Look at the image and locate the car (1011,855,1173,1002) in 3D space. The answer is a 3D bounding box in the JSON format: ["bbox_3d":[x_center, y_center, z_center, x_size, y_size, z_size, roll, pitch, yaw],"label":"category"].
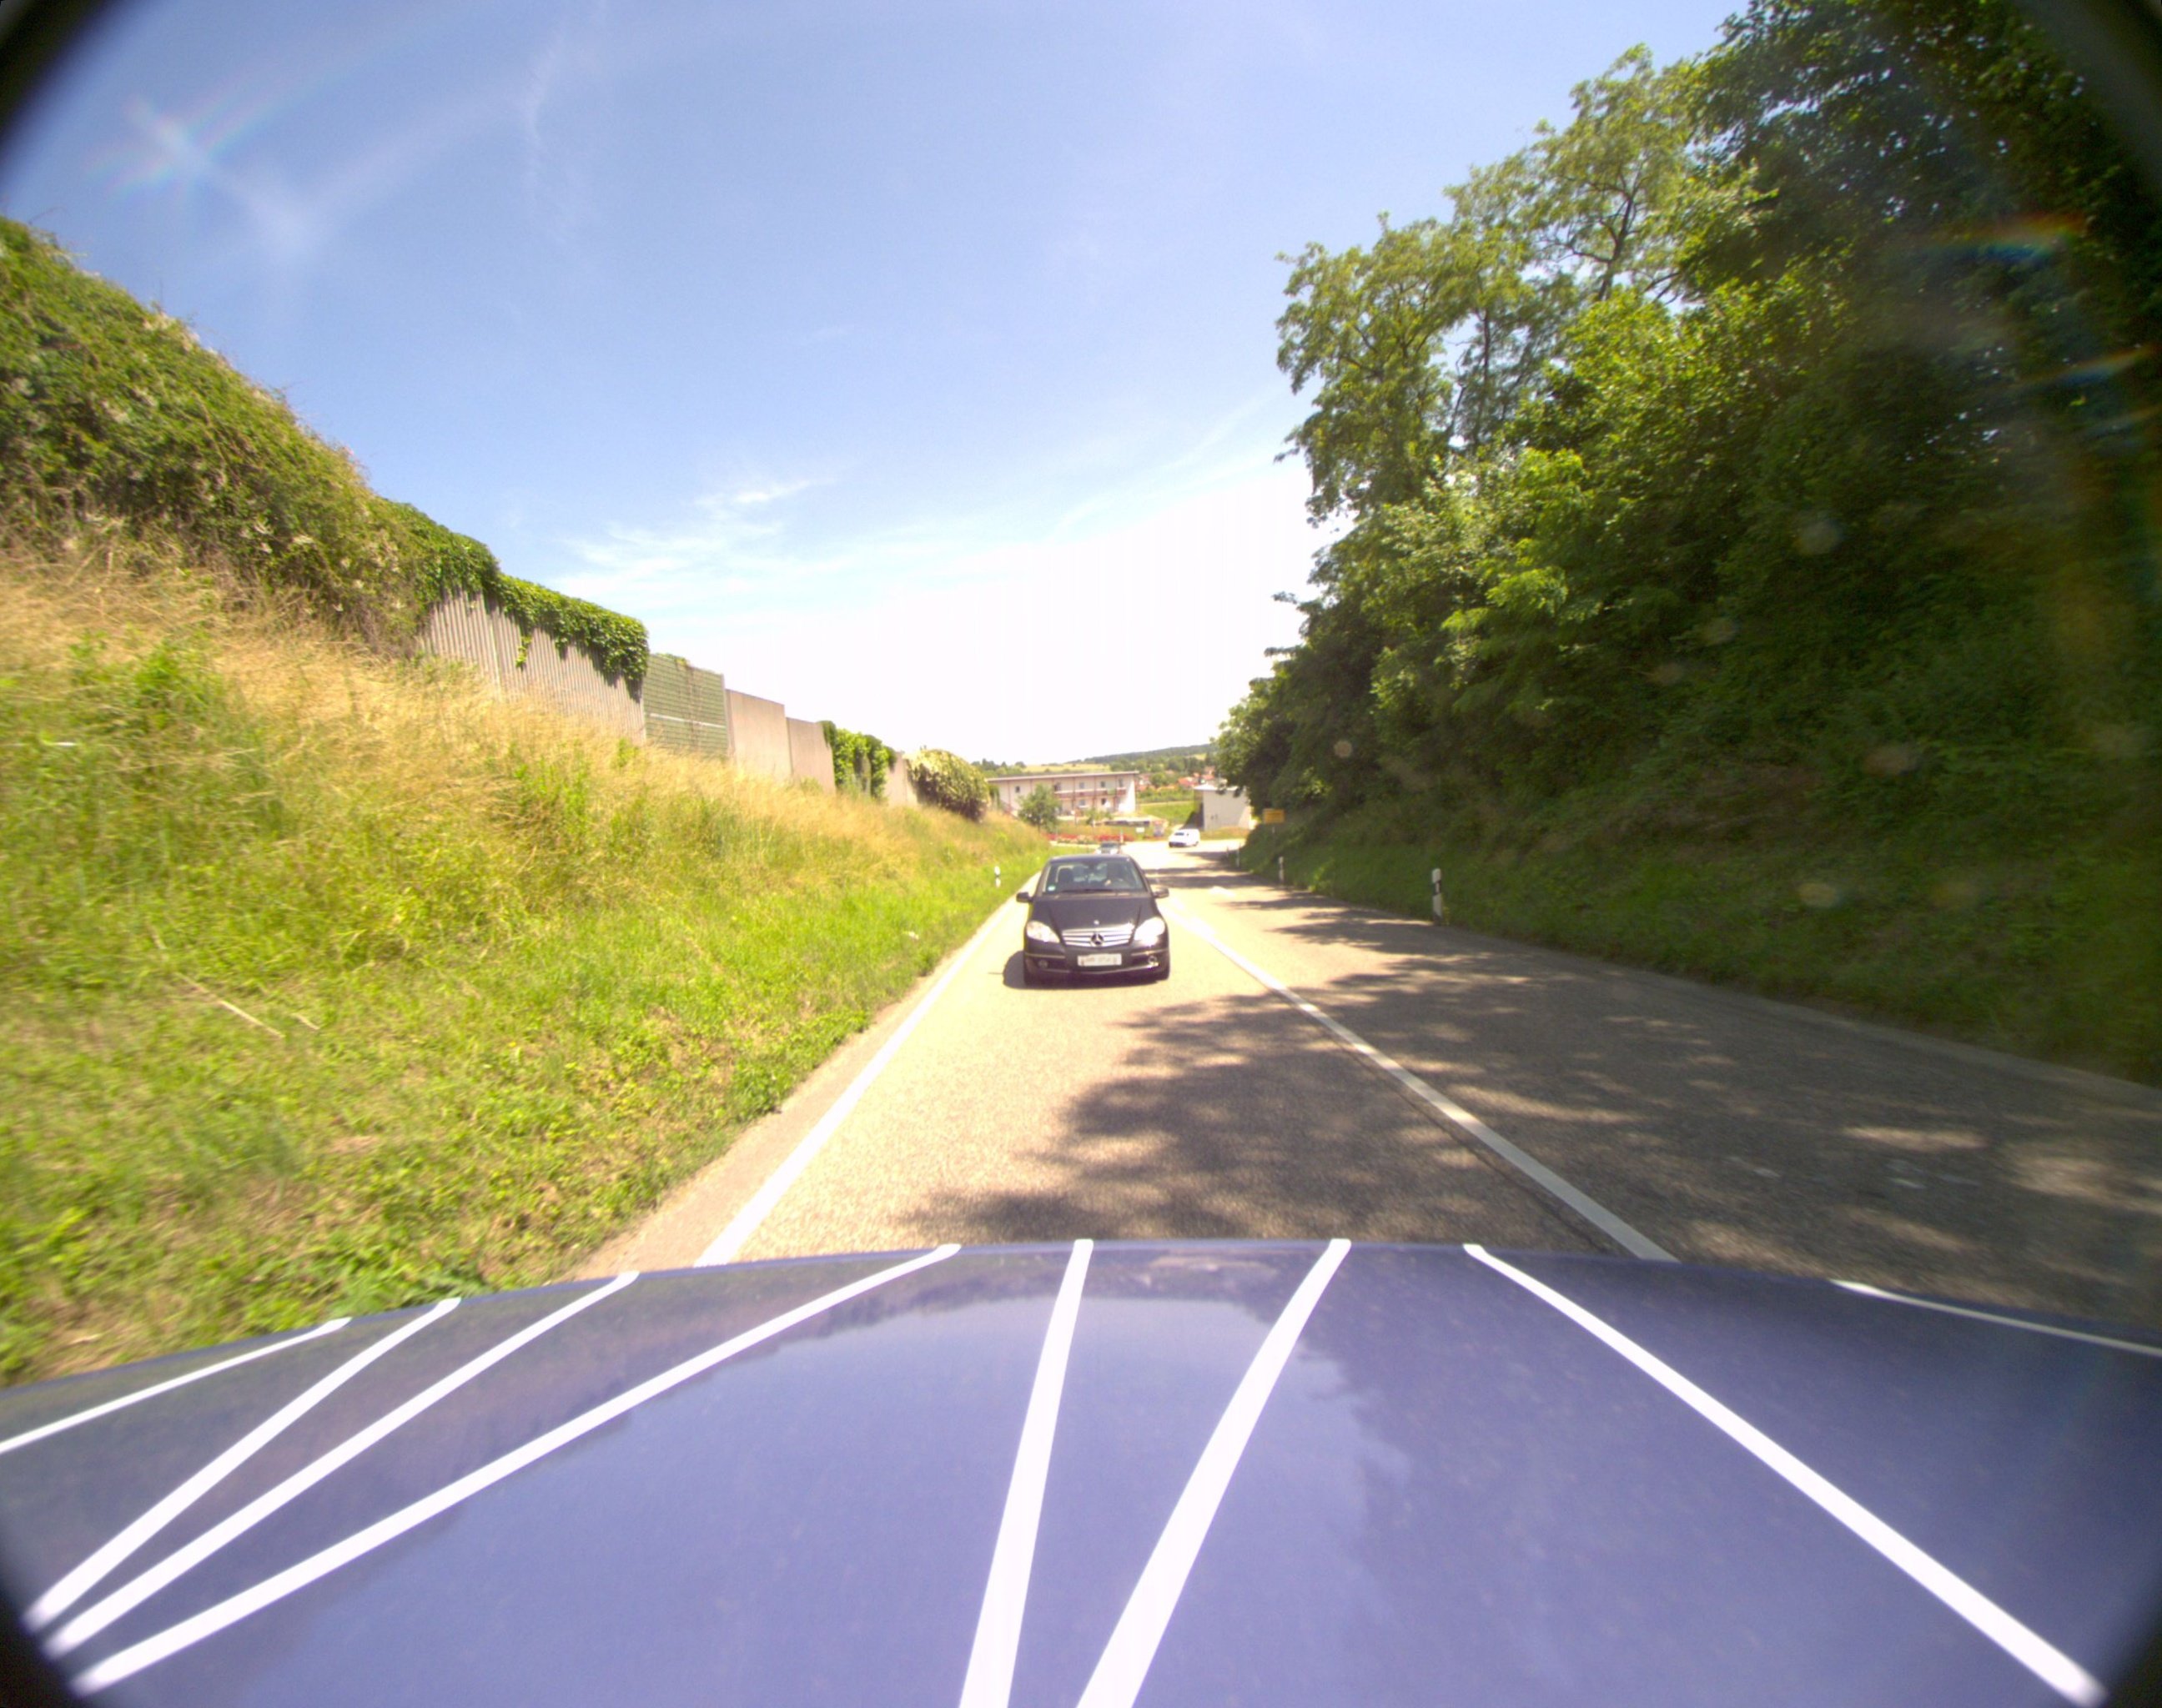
[{"bbox_3d":[0.188,0.855,10.553,1.795,1.570,3.799,-2,1,2],"label":"car"}]

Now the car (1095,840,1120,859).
[{"bbox_3d":[2.147,-0.380,60.531,1.755,1.281,4.145,-3,2,4],"label":"car"}]

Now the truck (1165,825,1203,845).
[{"bbox_3d":[11.831,-2.201,87.035,2.067,2.002,5.253,-1,3,35],"label":"truck"}]
